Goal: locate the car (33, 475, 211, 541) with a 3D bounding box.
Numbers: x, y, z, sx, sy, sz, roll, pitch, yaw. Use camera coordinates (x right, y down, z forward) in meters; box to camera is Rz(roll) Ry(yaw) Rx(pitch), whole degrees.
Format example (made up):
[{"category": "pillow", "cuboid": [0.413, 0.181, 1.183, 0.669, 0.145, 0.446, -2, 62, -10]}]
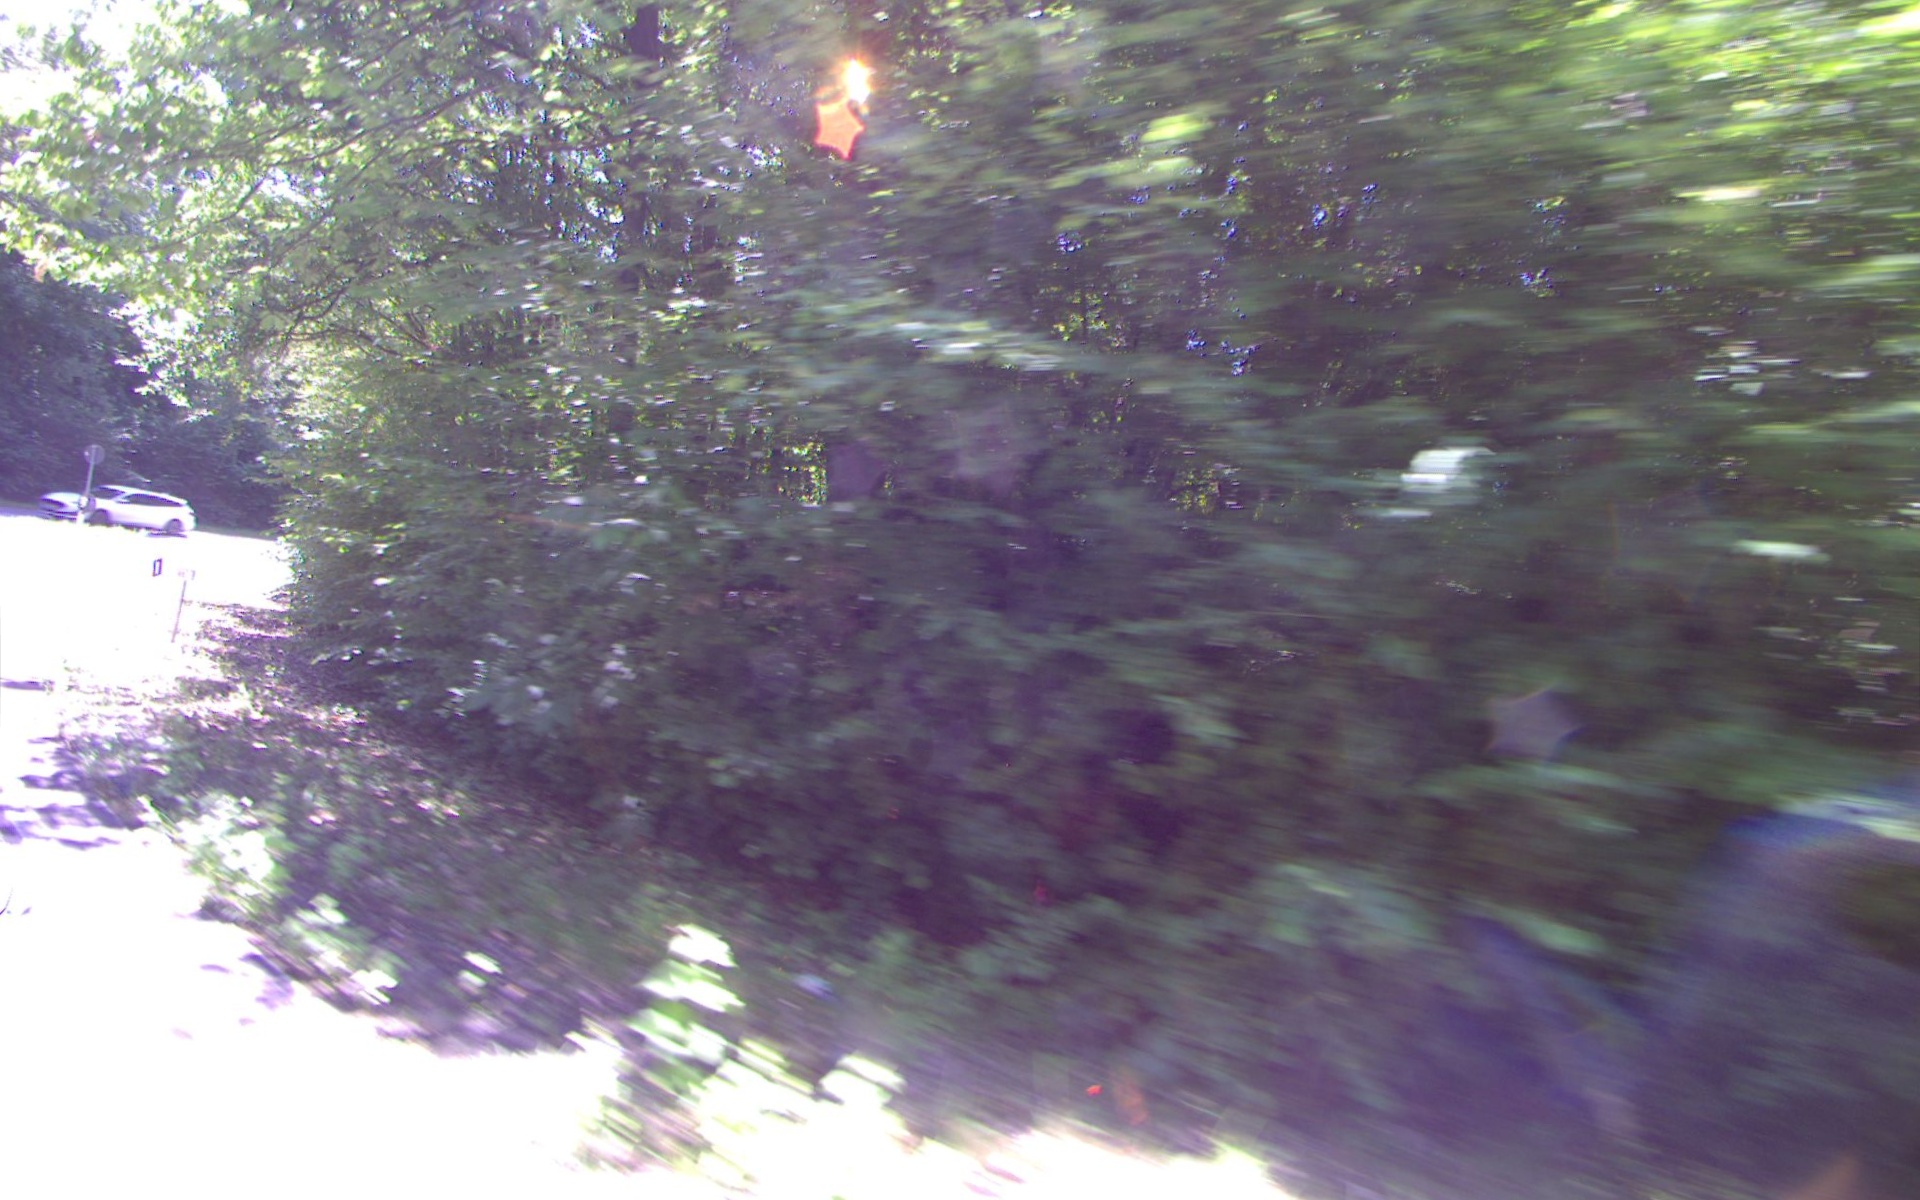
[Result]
[{"category": "car", "cuboid": [-29.726, -3.206, 35.915, 1.728, 1.469, 4.873, 11, 0, 7]}]
